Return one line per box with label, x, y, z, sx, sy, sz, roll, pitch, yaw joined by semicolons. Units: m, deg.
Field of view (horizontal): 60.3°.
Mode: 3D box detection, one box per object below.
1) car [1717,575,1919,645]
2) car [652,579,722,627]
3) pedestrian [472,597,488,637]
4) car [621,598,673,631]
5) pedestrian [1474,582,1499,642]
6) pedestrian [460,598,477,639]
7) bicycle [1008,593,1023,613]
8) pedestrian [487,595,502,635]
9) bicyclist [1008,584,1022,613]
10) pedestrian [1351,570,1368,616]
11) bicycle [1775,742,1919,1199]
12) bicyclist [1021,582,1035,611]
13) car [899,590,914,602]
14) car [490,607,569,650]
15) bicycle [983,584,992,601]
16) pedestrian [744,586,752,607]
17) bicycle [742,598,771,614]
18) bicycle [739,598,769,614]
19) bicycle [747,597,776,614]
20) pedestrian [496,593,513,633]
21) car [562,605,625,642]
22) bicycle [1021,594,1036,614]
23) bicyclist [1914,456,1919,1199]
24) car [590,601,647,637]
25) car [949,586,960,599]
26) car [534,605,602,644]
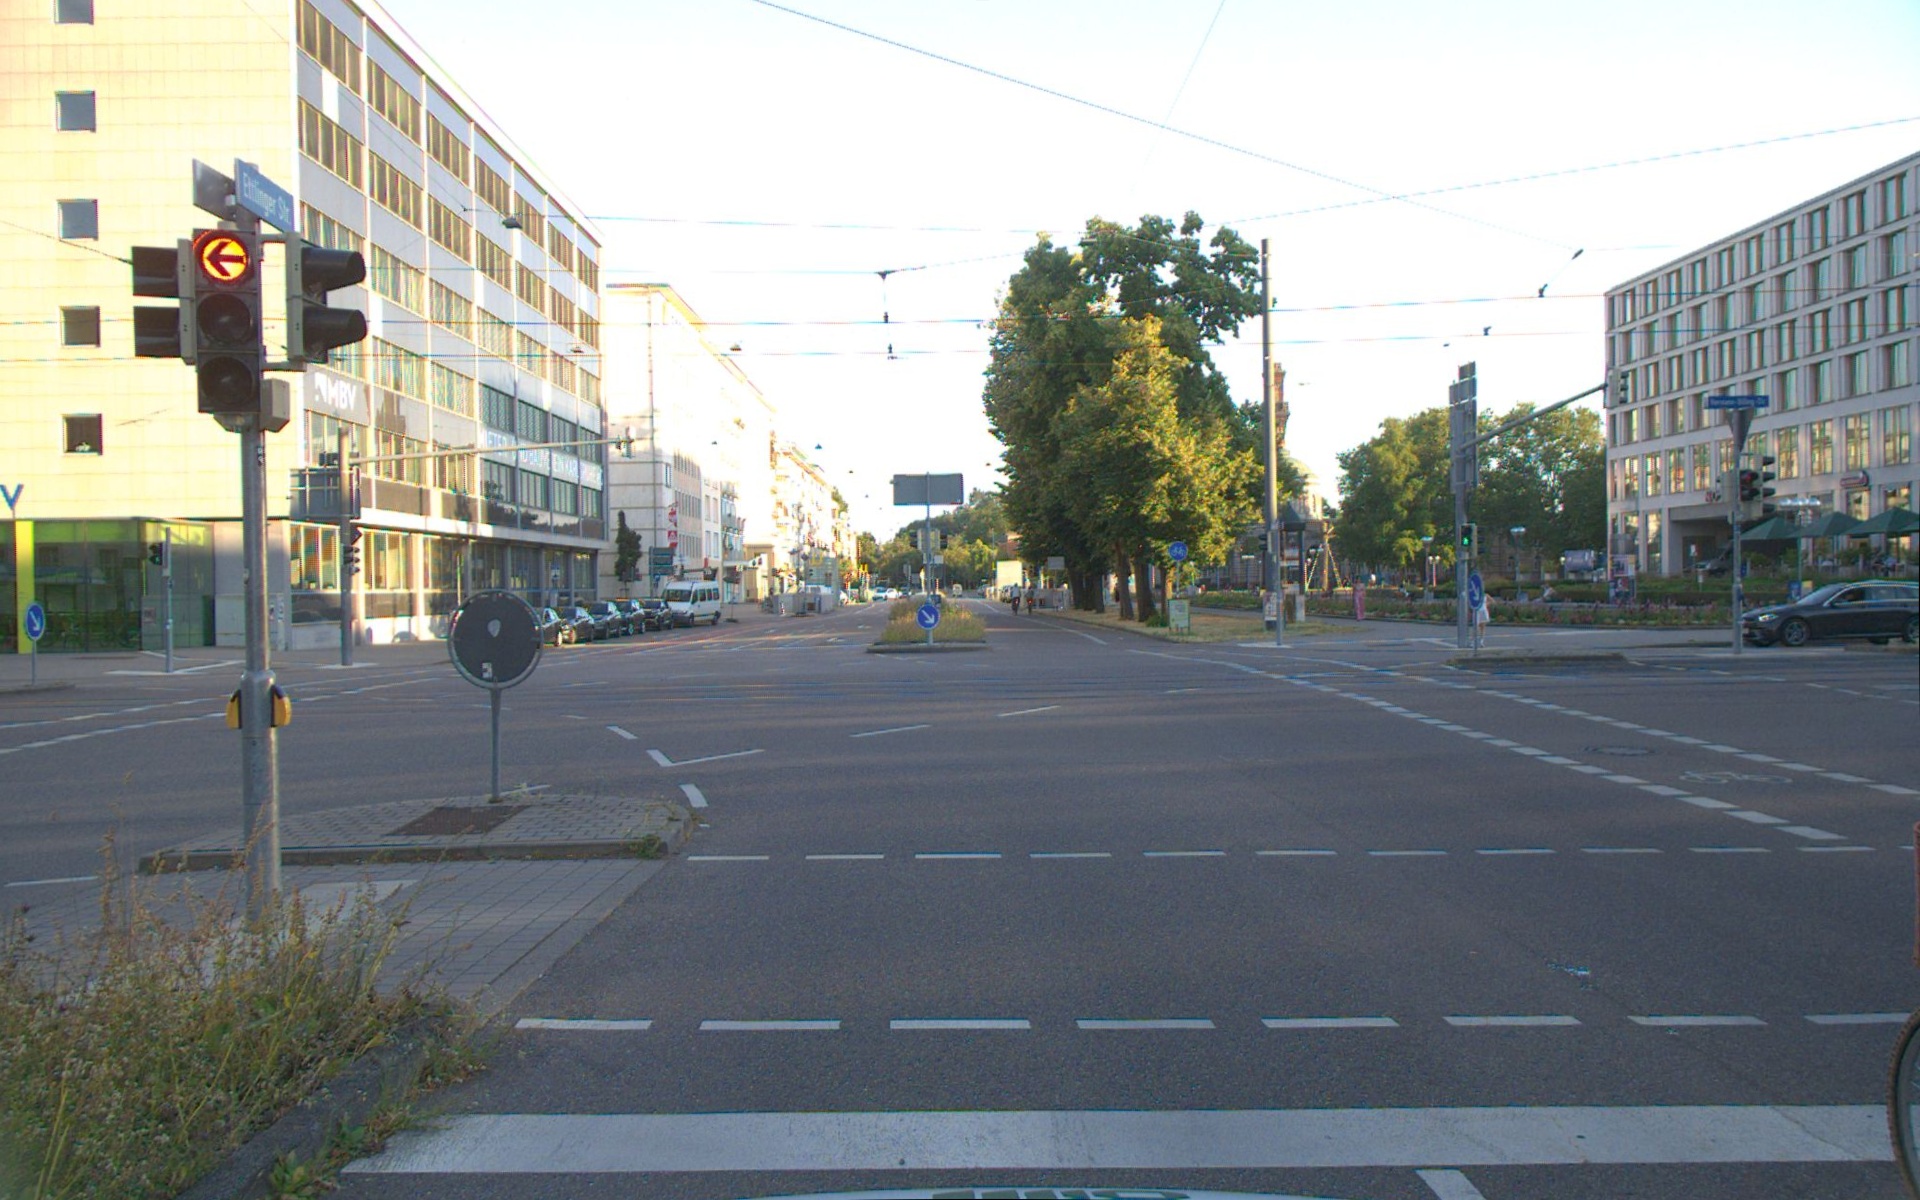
car;21.097;0.229;39.926;4.724;1.542;2.000;-1;0;1
car;-14.938;0.146;90.993;1.958;2.521;5.873;-1;0;9
pedestrian;-20.766;0.736;71.558;0.540;1.708;0.500;-1;0;-1
car;-15.956;0.735;84.517;1.882;1.595;3.999;-1;0;-1
pedestrian;13.844;0.304;43.480;0.480;1.566;0.408;-1;0;-1
pedestrian;-21.059;0.781;70.829;0.540;1.708;0.500;-1;0;-1
bicycle;3.264;0.177;97.677;0.731;1.164;2.505;-1;0;-1
pedestrian;-20.134;0.635;71.564;0.490;1.708;0.500;-1;0;-1
bicyclist;3.243;-0.109;97.375;0.731;1.692;0.873;-1;0;-1
pedestrian;14.801;-0.268;61.236;0.451;1.685;0.566;-1;0;-1
bicycle;2.188;0.910;2.802;0.599;1.152;2.004;1;0;-1
bicyclist;4.028;-0.213;97.488;0.731;1.720;0.799;-1;0;-1
car;-7.048;-0.533;218.911;1.825;1.546;4.000;-1;0;0
car;-16.005;1.034;61.673;1.882;1.489;4.102;-1;0;-1
bicycle;3.443;-0.972;208.349;0.981;2.049;4.000;-1;0;0
pedestrian;-21.093;-0.346;164.404;0.666;2.049;0.545;-1;0;-1
bicycle;-15.570;0.479;126.664;2.161;1.131;0.689;-1;0;-2
bicycle;-15.582;0.468;125.275;2.161;1.131;0.618;-1;0;-3
bicycle;-15.465;0.424;128.640;2.161;1.258;0.839;-1;0;-2
pedestrian;-19.568;0.556;71.079;0.540;1.708;0.500;-1;0;-1
car;-16.134;1.014;72.982;1.882;1.489;3.999;-1;0;-1
bicycle;4.040;0.218;97.521;0.731;1.164;2.505;-1;0;-1
bicyclist;2.194;0.553;2.783;0.587;1.665;0.998;1;0;-1
car;-16.130;0.883;78.286;1.882;1.595;3.999;-1;0;-1
car;-0.777;-1.003;223.500;1.379;1.670;3.998;-1;0;-2
car;-16.114;0.994;68.168;1.882;1.489;3.999;-1;0;-1
